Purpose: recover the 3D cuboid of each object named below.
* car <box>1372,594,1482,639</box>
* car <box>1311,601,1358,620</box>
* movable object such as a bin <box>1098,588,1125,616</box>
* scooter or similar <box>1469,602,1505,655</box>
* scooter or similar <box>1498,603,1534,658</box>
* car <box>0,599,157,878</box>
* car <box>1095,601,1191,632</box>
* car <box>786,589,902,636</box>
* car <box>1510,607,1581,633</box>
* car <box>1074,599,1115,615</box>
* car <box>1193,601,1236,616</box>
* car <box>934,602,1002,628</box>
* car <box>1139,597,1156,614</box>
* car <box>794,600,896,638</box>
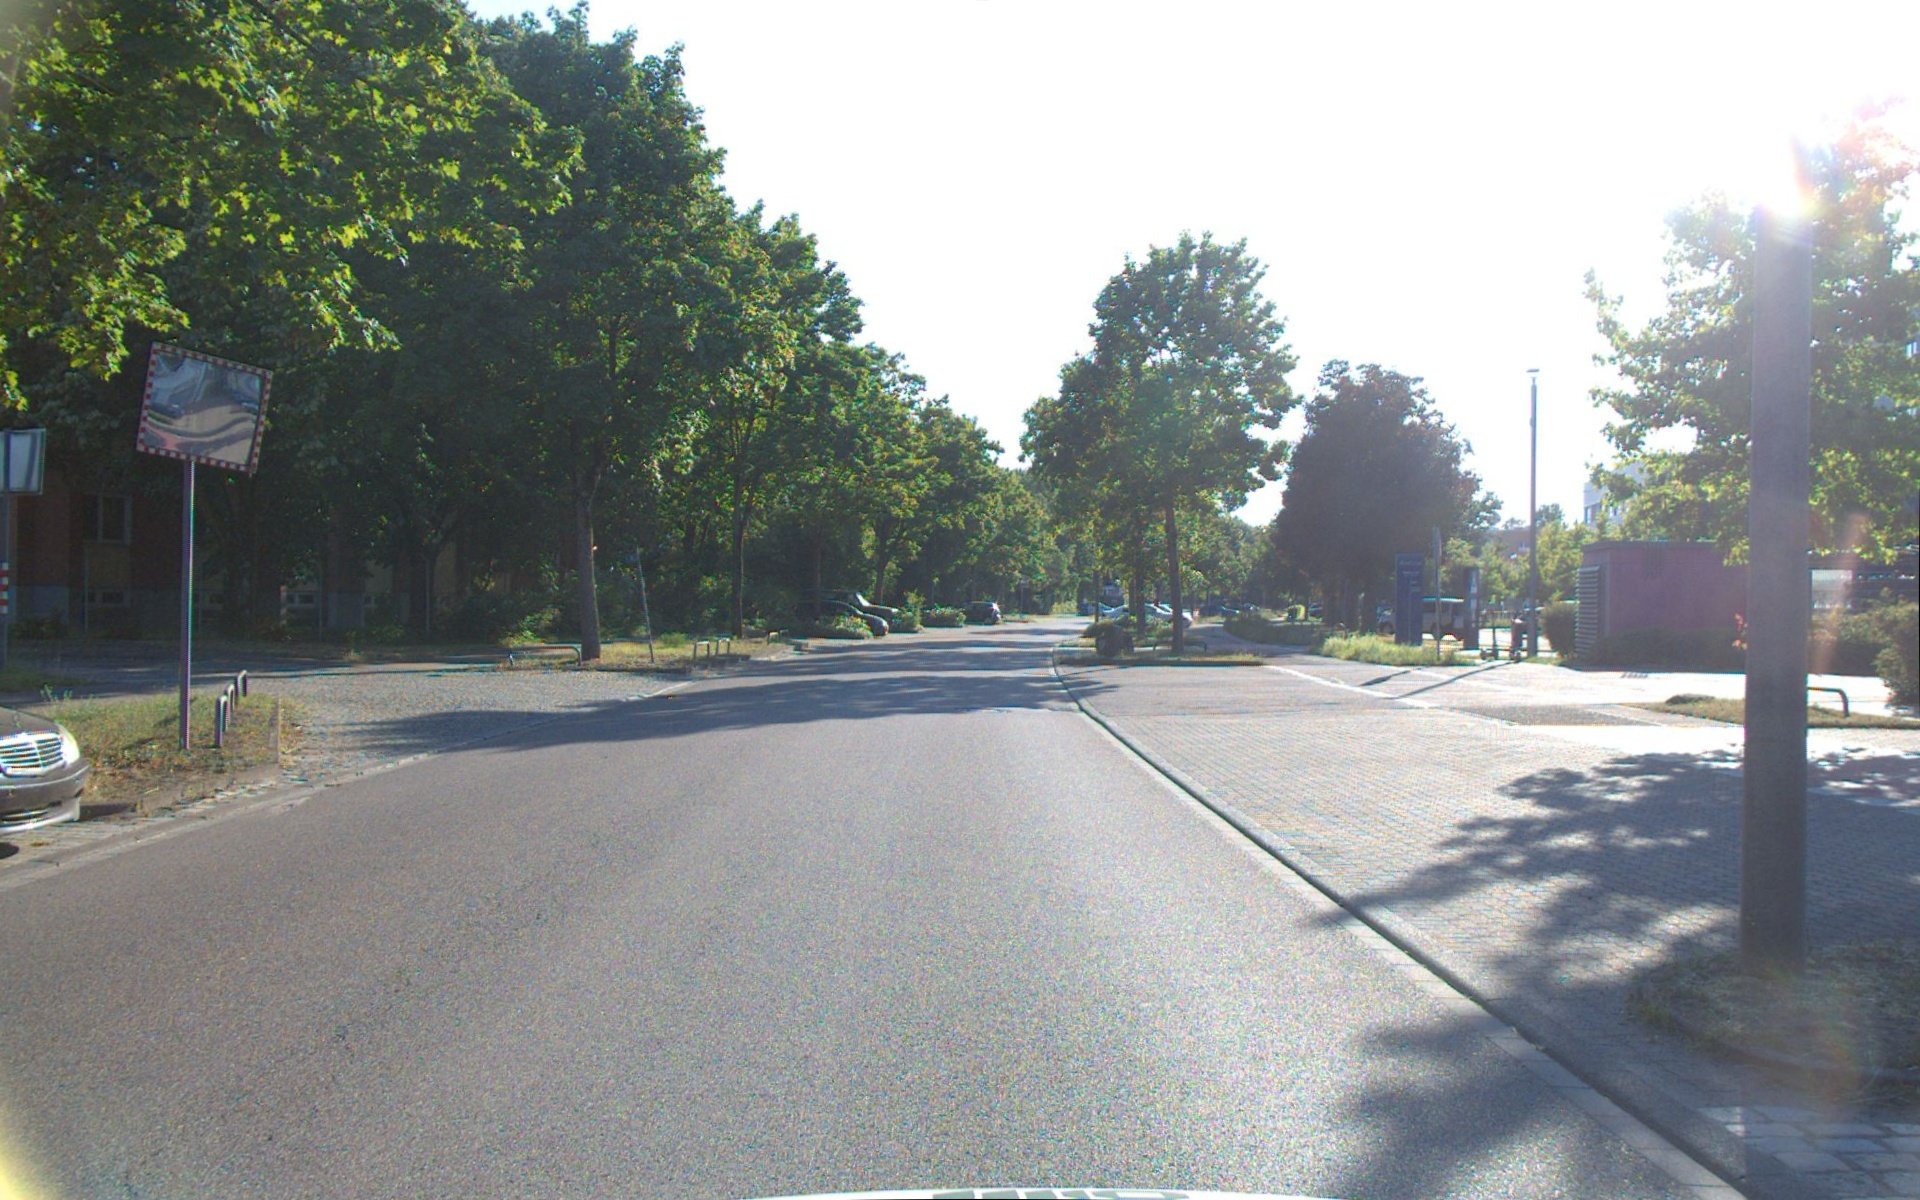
[{"bbox_3d":[21.902,0.757,77.744,1.976,1.967,4.895,1,1,-34],"label":"car"},{"bbox_3d":[36.903,1.038,163.173,4.335,1.735,2.061,3,0,11],"label":"car"},{"bbox_3d":[17.980,0.198,196.028,2.778,3.122,4.931,3,0,7],"label":"movable object such as a bin"},{"bbox_3d":[13.132,0.696,41.254,0.509,1.294,1.388,0,0,3],"label":"scooter or similar"},{"bbox_3d":[13.295,0.716,39.558,0.509,1.294,1.201,0,0,3],"label":"scooter or similar"},{"bbox_3d":[-7.715,0.679,9.711,4.934,1.487,1.999,2,0,-3],"label":"car"},{"bbox_3d":[9.855,0.883,89.269,5.065,1.601,2.159,0,0,6],"label":"car"},{"bbox_3d":[-5.208,0.550,74.624,4.899,2.055,2.176,1,0,5],"label":"car"},{"bbox_3d":[35.343,1.200,99.792,4.245,1.554,1.749,0,0,-31],"label":"car"},{"bbox_3d":[14.917,0.757,183.700,4.266,1.574,2.002,3,0,13],"label":"car"},{"bbox_3d":[29.352,1.002,190.459,4.739,1.505,2.002,3,0,13],"label":"car"},{"bbox_3d":[0.524,1.004,111.495,4.266,1.505,2.002,3,0,9],"label":"car"},{"bbox_3d":[27.737,0.769,244.685,2.463,2.428,4.375,0,0,5],"label":"car"},{"bbox_3d":[-4.906,0.796,70.910,4.123,1.557,1.706,1,0,5],"label":"car"}]
